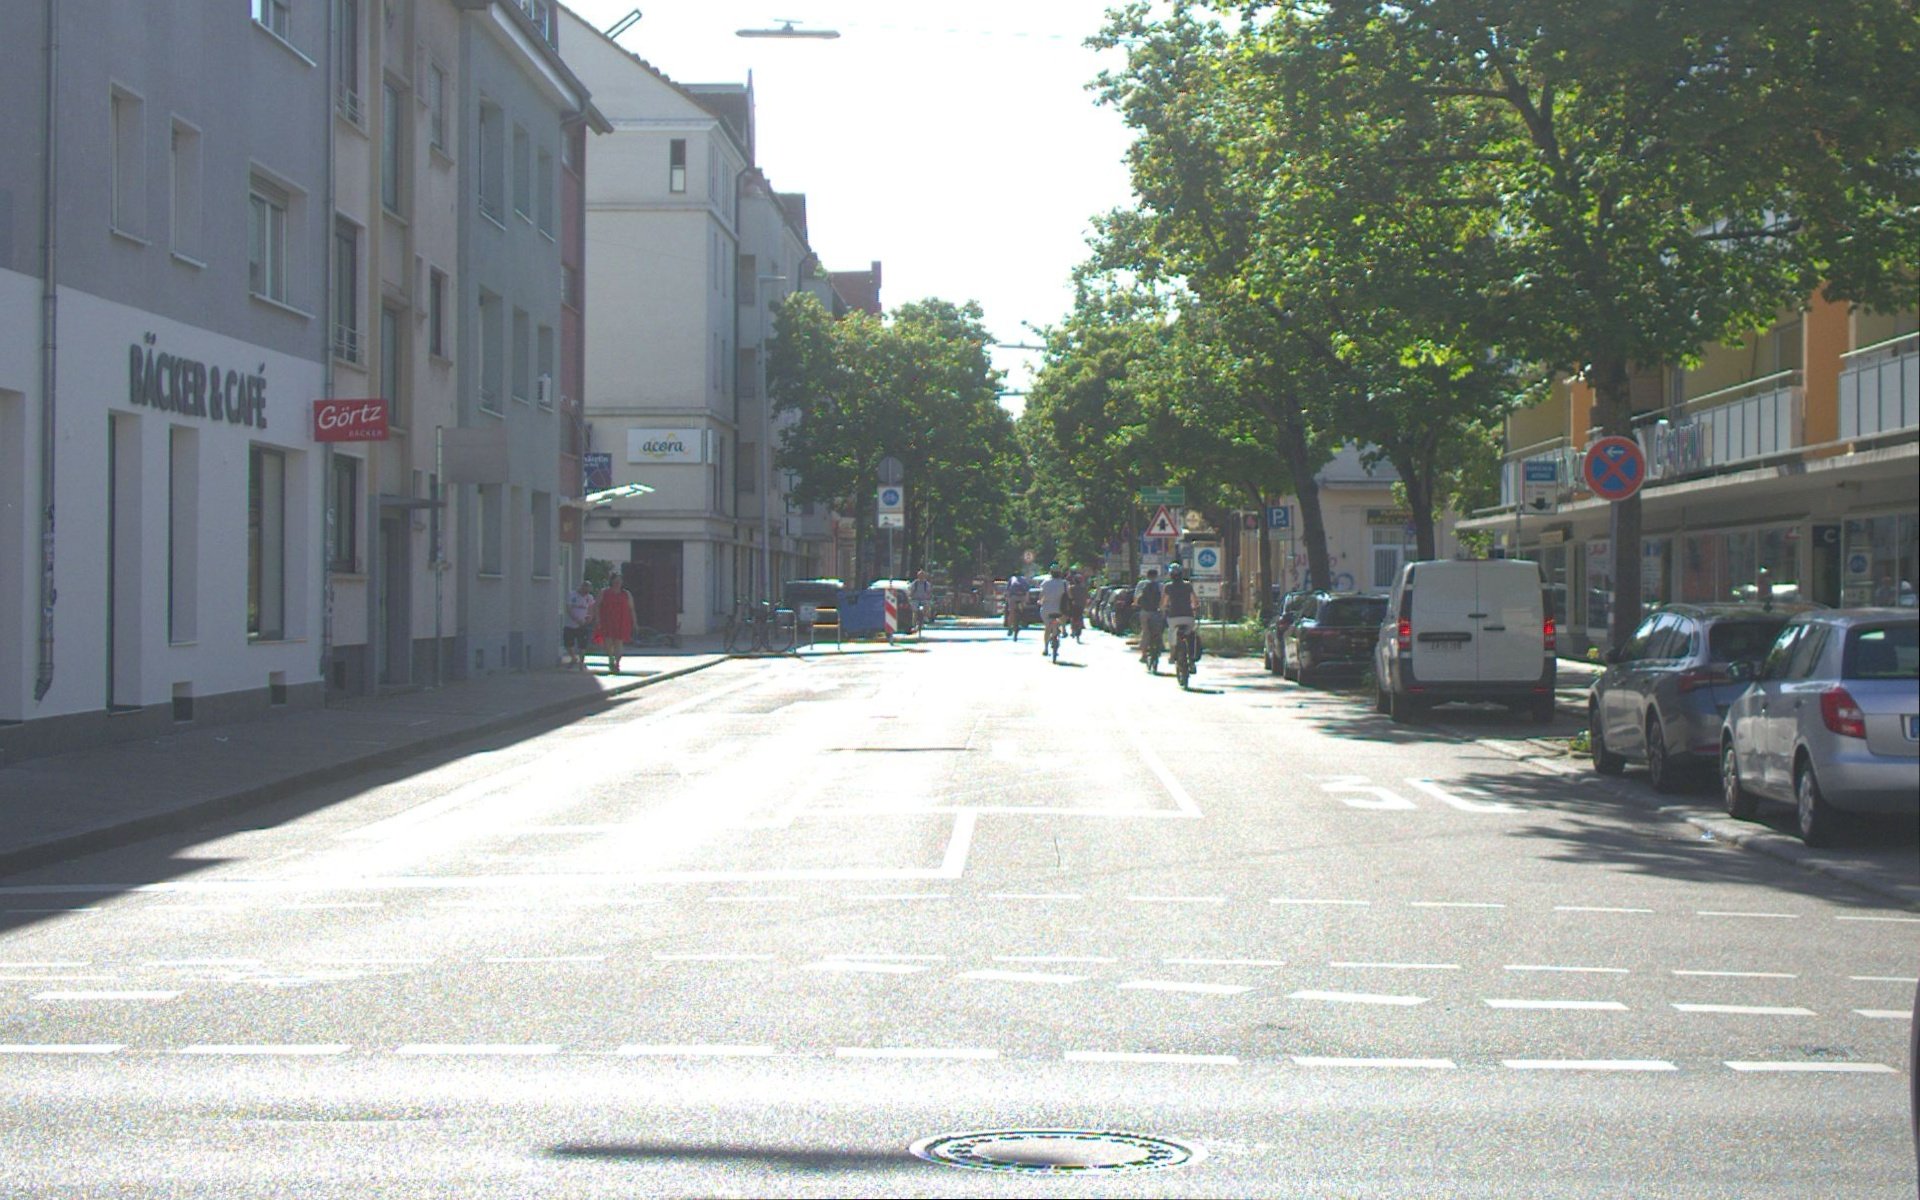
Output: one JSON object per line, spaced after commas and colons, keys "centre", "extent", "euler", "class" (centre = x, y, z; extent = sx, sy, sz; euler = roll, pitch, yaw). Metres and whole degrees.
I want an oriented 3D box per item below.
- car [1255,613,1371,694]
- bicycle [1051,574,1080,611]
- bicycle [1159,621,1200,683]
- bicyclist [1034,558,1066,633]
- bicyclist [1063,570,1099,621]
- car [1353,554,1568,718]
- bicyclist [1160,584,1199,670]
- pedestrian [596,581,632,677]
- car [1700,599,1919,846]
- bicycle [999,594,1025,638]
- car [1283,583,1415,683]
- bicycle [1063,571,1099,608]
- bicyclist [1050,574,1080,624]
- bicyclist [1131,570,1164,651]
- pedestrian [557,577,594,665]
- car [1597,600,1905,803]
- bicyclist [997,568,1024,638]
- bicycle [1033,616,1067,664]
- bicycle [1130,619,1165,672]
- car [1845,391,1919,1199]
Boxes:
{"centre": [6.098, 0.907, 59.687], "extent": [1.712, 1.310, 3.381], "euler": [0, 0, 1], "class": "car"}
{"centre": [2.535, -0.187, 82.727], "extent": [0.691, 0.863, 1.876], "euler": [0, 0, 2], "class": "bicycle"}
{"centre": [3.244, 0.764, 50.939], "extent": [0.547, 0.863, 1.876], "euler": [0, 0, 2], "class": "bicycle"}
{"centre": [1.672, -0.090, 63.685], "extent": [0.588, 1.378, 0.823], "euler": [0, 0, 2], "class": "bicyclist"}
{"centre": [3.178, -0.128, 90.717], "extent": [0.856, 1.310, 1.210], "euler": [3, 0, 0], "class": "bicyclist"}
{"centre": [5.929, 0.389, 41.246], "extent": [2.046, 1.840, 4.584], "euler": [0, 0, 2], "class": "car"}
{"centre": [3.251, 0.392, 51.010], "extent": [0.547, 1.257, 0.803], "euler": [0, 0, 2], "class": "bicyclist"}
{"centre": [-5.784, 0.480, 57.479], "extent": [0.577, 1.577, 0.708], "euler": [0, 0, -4], "class": "pedestrian"}
{"centre": [6.095, 0.750, 22.702], "extent": [1.712, 1.478, 3.480], "euler": [0, 0, 1], "class": "car"}
{"centre": [1.252, 0.382, 83.160], "extent": [0.632, 1.038, 1.795], "euler": [0, 0, 0], "class": "bicycle"}
{"centre": [6.040, 0.488, 53.657], "extent": [1.712, 1.478, 3.381], "euler": [0, 0, 1], "class": "car"}
{"centre": [3.187, -0.285, 90.616], "extent": [0.856, 0.942, 2.307], "euler": [3, 0, 0], "class": "bicycle"}
{"centre": [2.524, -0.018, 82.680], "extent": [0.692, 1.189, 0.595], "euler": [0, 0, 2], "class": "bicyclist"}
{"centre": [3.220, 0.179, 59.060], "extent": [0.547, 1.378, 0.823], "euler": [0, 0, 2], "class": "bicyclist"}
{"centre": [-6.459, 0.353, 57.731], "extent": [0.577, 1.462, 0.703], "euler": [0, 0, -4], "class": "pedestrian"}
{"centre": [6.212, 0.757, 27.335], "extent": [1.712, 1.478, 3.381], "euler": [0, 0, 1], "class": "car"}
{"centre": [1.220, 0.067, 82.809], "extent": [0.632, 1.663, 1.050], "euler": [0, 0, 0], "class": "bicyclist"}
{"centre": [1.669, 0.735, 63.674], "extent": [0.620, 0.863, 1.876], "euler": [0, 0, 2], "class": "bicycle"}
{"centre": [3.214, 0.772, 59.026], "extent": [0.547, 0.863, 1.876], "euler": [0, 0, 2], "class": "bicycle"}
{"centre": [2.747, 0.533, 4.315], "extent": [1.968, 1.804, 4.833], "euler": [1, 0, -1], "class": "car"}
